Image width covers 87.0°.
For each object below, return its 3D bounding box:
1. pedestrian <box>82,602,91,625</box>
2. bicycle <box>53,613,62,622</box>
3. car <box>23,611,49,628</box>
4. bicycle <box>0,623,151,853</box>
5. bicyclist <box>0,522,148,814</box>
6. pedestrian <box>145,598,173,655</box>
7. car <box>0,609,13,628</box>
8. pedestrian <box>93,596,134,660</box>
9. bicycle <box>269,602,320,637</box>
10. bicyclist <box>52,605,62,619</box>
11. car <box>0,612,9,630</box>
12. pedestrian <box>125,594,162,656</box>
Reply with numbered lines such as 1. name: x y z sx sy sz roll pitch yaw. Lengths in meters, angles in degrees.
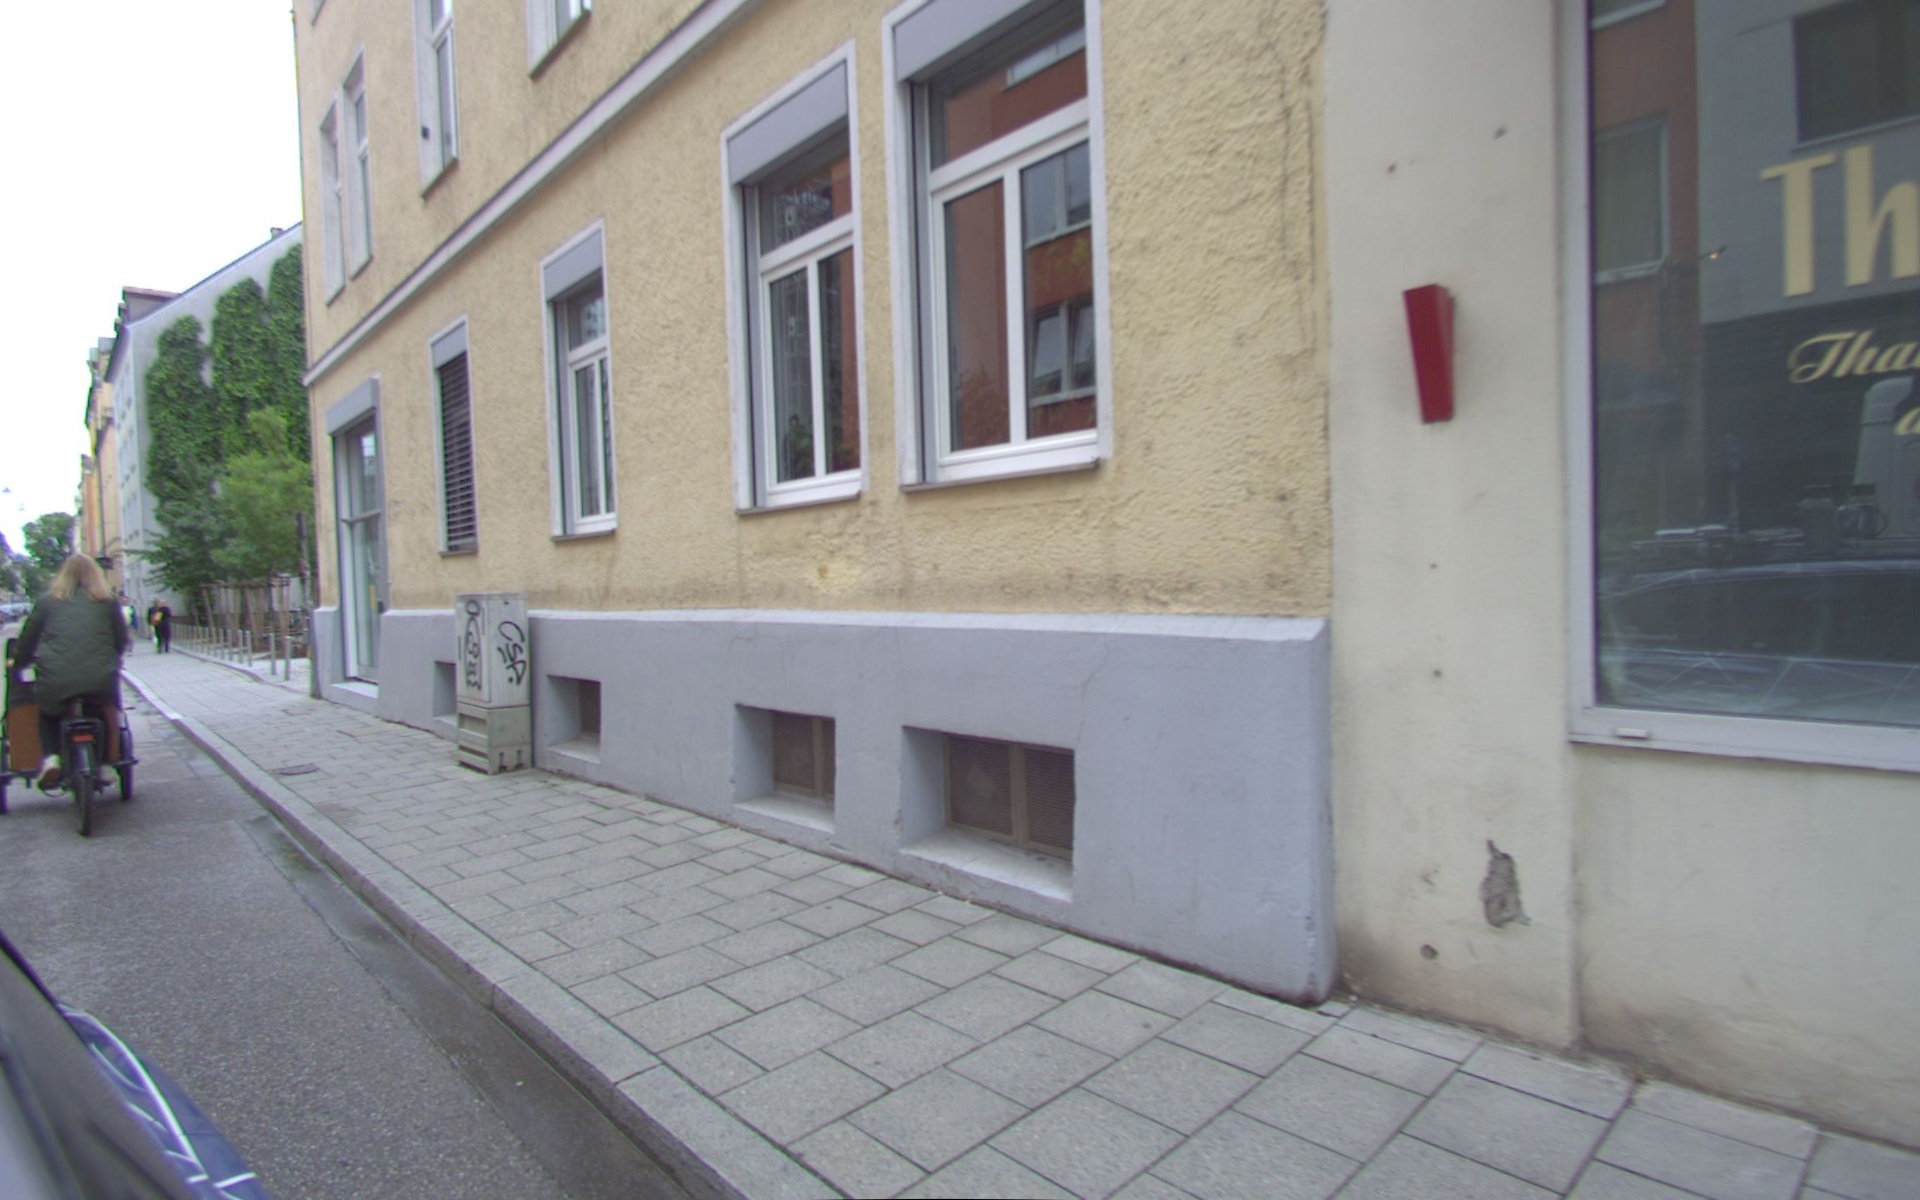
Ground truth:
1. pedestrian: -71.468 1.113 82.823 0.486 1.838 0.553 -3 1 -43
2. bicycle: -94.696 1.808 106.171 0.690 0.938 1.696 -4 2 -43
3. car: -99.544 2.097 109.048 1.970 1.604 4.380 -4 2 -42
4. bicycle: -6.232 0.829 6.933 0.920 1.266 2.417 -2 1 -42
5. bicyclist: -5.918 0.404 6.567 0.915 1.734 1.101 -2 0 -42
6. pedestrian: -24.458 0.795 30.894 0.546 1.672 0.999 -3 2 -42
7. car: -87.025 1.693 91.610 1.768 1.570 4.005 -4 2 -42
8. pedestrian: -25.787 0.830 30.827 0.848 1.858 0.975 -5 2 -41
9. bicycle: -24.766 0.723 37.661 1.991 1.217 0.707 -1 3 30
10. bicyclist: -94.677 1.245 106.070 0.708 1.418 0.967 -4 2 -43
11. car: -71.672 1.551 75.014 1.602 1.275 4.334 -4 2 -42
12. pedestrian: -25.598 0.769 31.735 0.766 1.850 0.992 -3 2 -42
